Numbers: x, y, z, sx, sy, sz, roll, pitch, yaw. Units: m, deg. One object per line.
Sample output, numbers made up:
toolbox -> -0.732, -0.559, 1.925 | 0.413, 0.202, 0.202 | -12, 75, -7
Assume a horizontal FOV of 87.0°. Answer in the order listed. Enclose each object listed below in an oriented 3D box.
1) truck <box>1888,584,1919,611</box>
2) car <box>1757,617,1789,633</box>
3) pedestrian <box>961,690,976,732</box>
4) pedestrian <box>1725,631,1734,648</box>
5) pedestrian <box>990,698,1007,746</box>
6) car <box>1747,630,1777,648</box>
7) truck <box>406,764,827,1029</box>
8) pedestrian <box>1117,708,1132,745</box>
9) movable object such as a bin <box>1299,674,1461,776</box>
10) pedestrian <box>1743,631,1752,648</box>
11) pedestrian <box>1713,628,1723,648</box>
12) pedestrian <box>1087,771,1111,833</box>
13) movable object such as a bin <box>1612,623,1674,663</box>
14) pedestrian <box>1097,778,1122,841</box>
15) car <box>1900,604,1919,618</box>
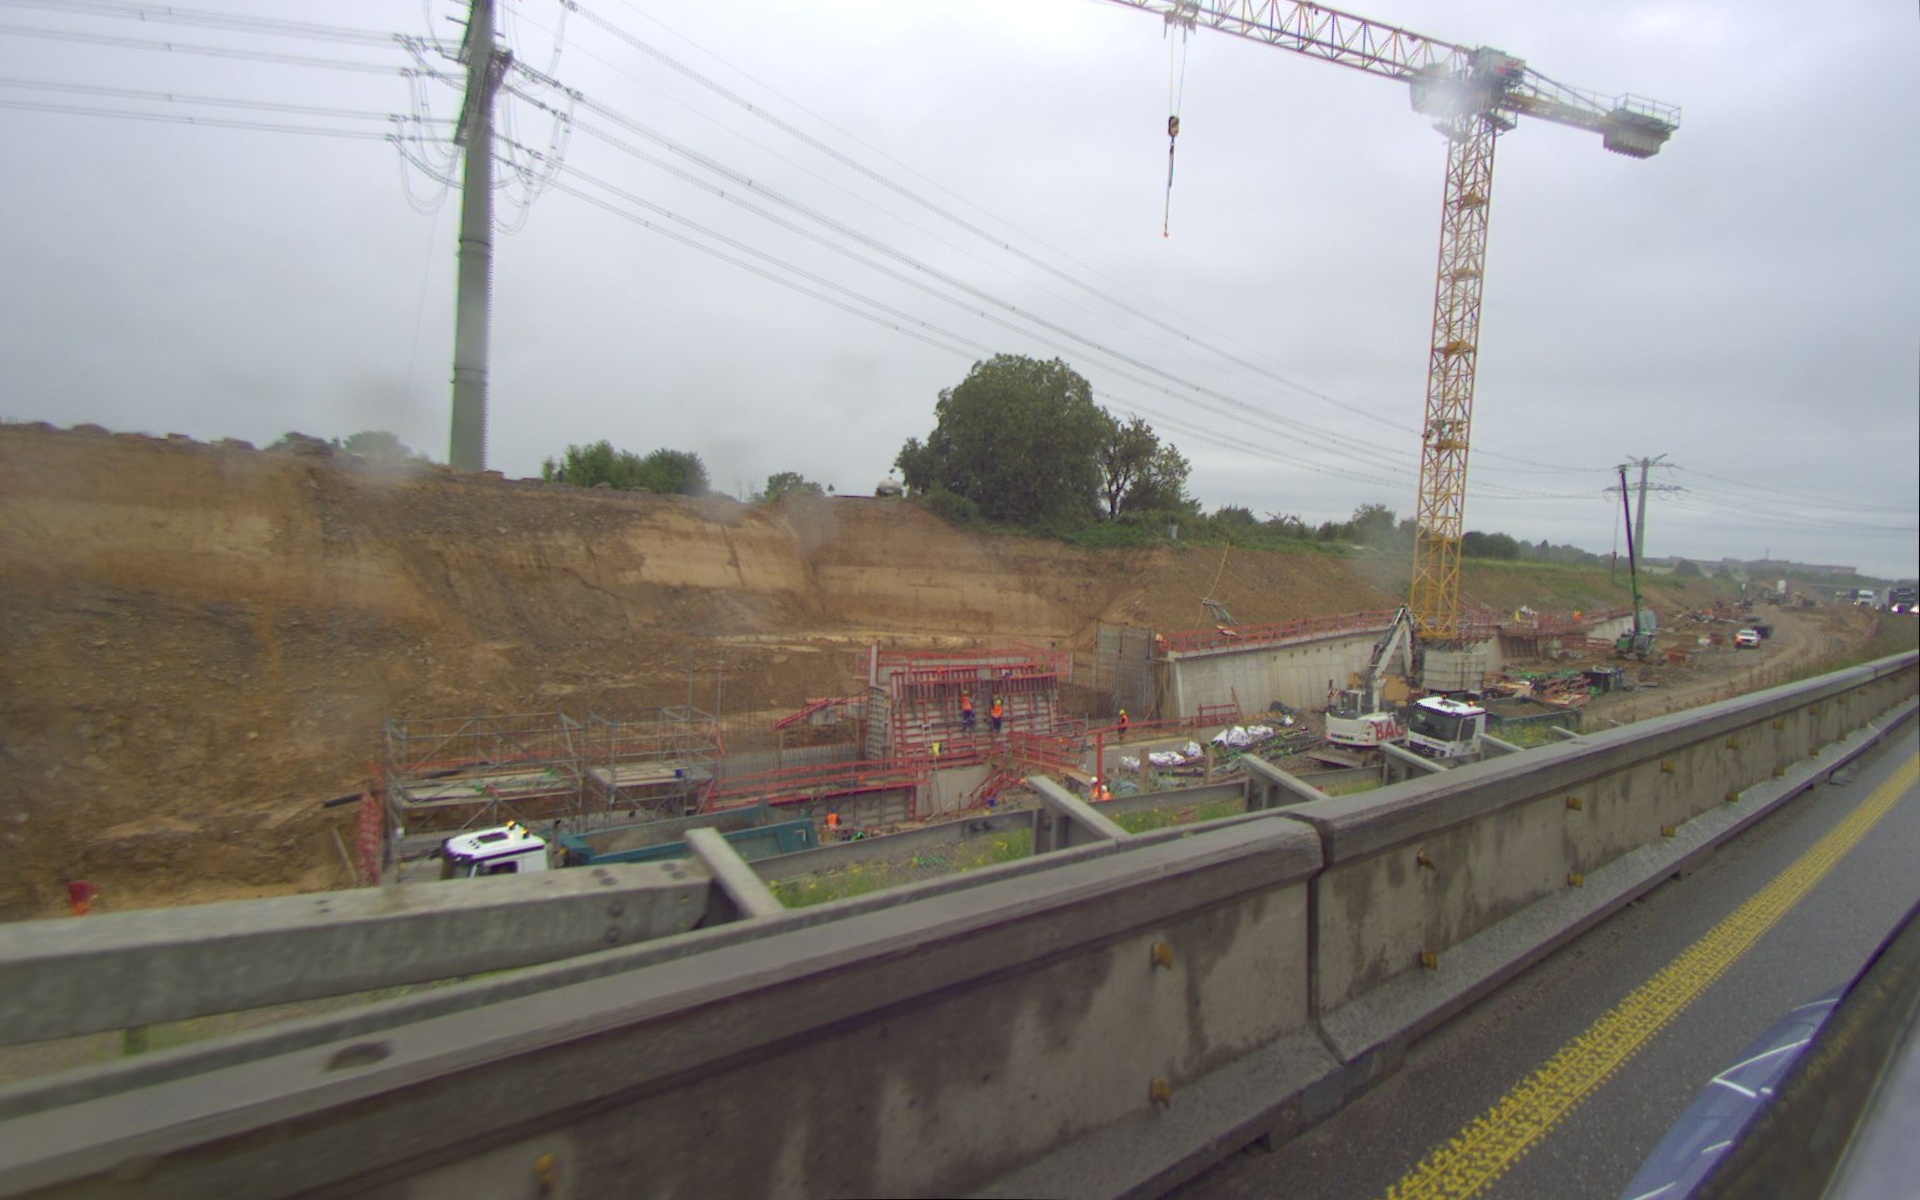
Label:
truck -> 138.112, -0.370, 147.494 | 8.192, 3.942, 3.541 | 0, 0, -42
car -> 97.197, 3.018, 120.966 | 4.778, 1.638, 2.348 | -1, 3, -43
pedestrian -> 0.373, 5.003, 45.627 | 0.571, 1.827, 0.489 | -3, -3, -1
pedestrian -> 75.970, 3.885, 99.959 | 0.593, 1.702, 0.613 | 0, 0, -40
pedestrian -> 1.765, 5.591, 46.535 | 0.473, 2.127, 0.488 | 0, -4, -41
car -> 83.474, 4.067, 105.324 | 4.011, 1.638, 1.857 | -1, 3, -43
truck -> -7.661, 6.427, 23.609 | 8.910, 3.655, 2.711 | -1, 4, -38
pedestrian -> 8.389, 6.432, 51.518 | 0.473, 1.781, 0.489 | 0, 3, -41
movable object such as a bin -> 18.541, 5.327, 44.594 | 6.524, 3.466, 3.522 | -1, 2, -33
pedestrian -> 79.294, 3.973, 101.877 | 0.593, 1.702, 0.613 | 0, 0, -40
pedestrian -> 75.295, 3.792, 100.558 | 0.655, 1.881, 0.614 | 0, 3, -40
pedestrian -> 4.774, 6.932, 34.805 | 0.473, 1.928, 0.603 | 0, 4, -41
movable object such as a bin -> 61.549, 3.786, 91.180 | 3.932, 2.914, 3.501 | -1, 7, -42
pedestrian -> 4.991, 7.015, 33.874 | 0.473, 1.928, 0.603 | 0, 3, -41
car -> 102.179, 1.208, 108.499 | 3.931, 1.445, 1.787 | 0, 0, -42
